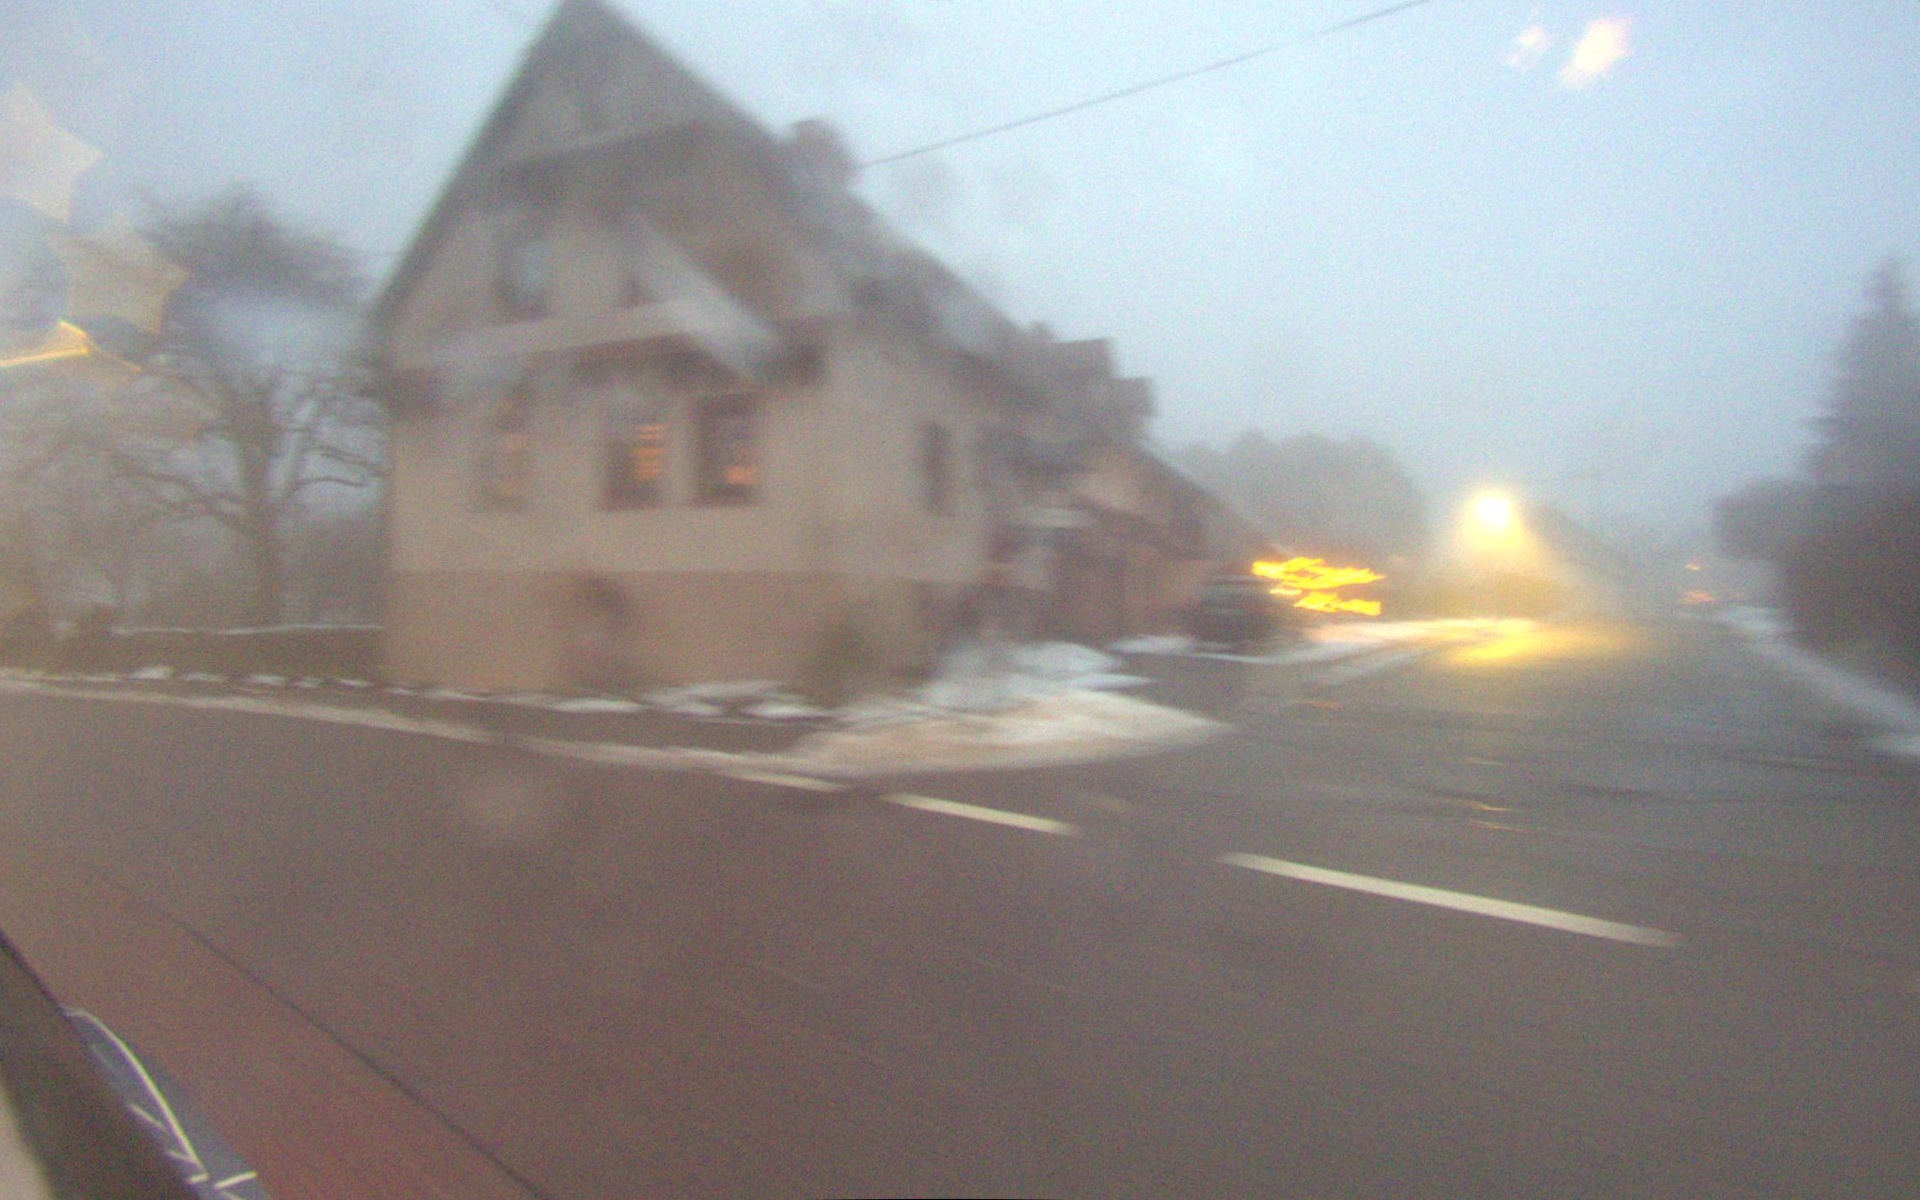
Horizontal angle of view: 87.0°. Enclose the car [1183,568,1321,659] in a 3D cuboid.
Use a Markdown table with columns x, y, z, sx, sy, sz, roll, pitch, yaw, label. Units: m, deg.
| x | y | z | sx | sy | sz | roll | pitch | yaw | label |
| --- | --- | --- | --- | --- | --- | --- | --- | --- | --- |
| 5.701 | 0.208 | 19.429 | 1.989 | 1.541 | 3.967 | 0 | 1 | 25 | car |
